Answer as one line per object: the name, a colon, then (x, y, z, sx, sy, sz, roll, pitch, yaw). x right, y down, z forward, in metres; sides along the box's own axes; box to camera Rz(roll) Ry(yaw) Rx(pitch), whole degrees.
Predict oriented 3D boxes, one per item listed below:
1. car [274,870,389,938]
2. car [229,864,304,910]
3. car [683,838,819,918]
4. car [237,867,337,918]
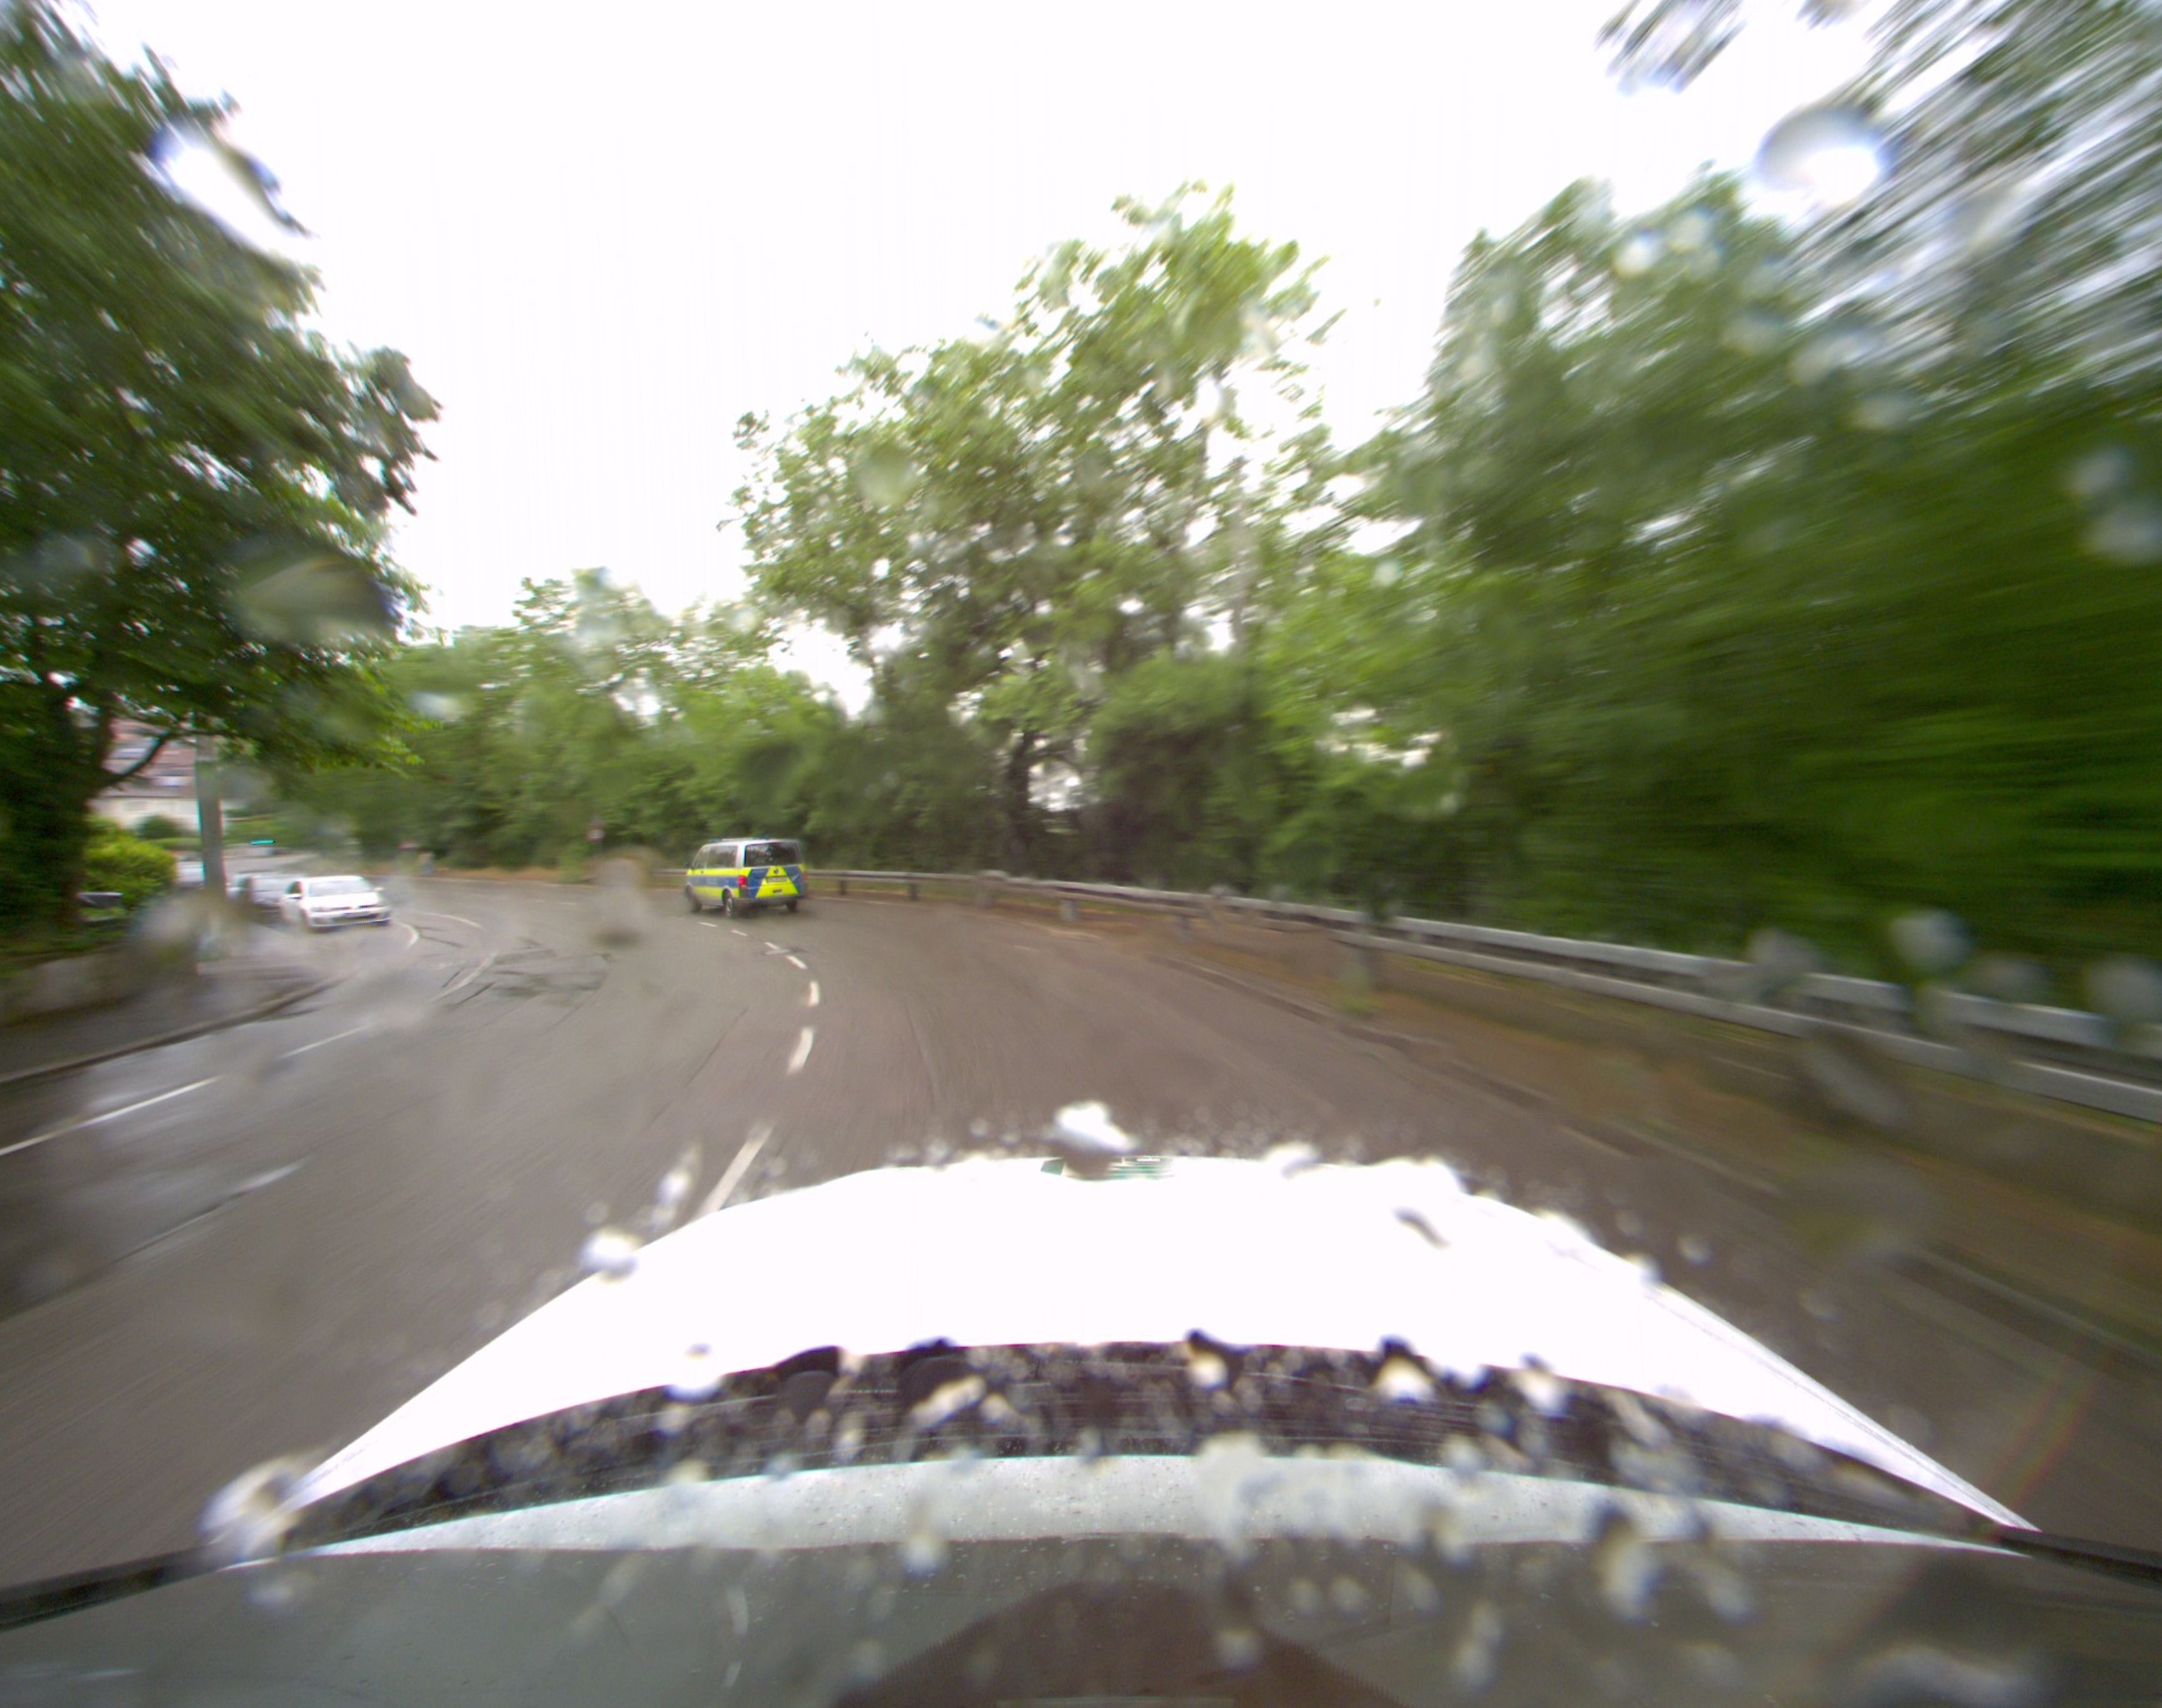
car: (-21.558, 1.358, 23.380, 4.201, 1.339, 1.825, 5, 5, 39)
car: (-29.858, 1.150, 29.898, 1.824, 1.340, 4.202, -3, 3, -45)
car: (-9.044, 0.633, 22.103, 2.011, 1.893, 4.515, -2, 0, -41)
car: (-25.999, 1.198, 26.632, 4.199, 1.340, 1.825, 1, 3, 39)
